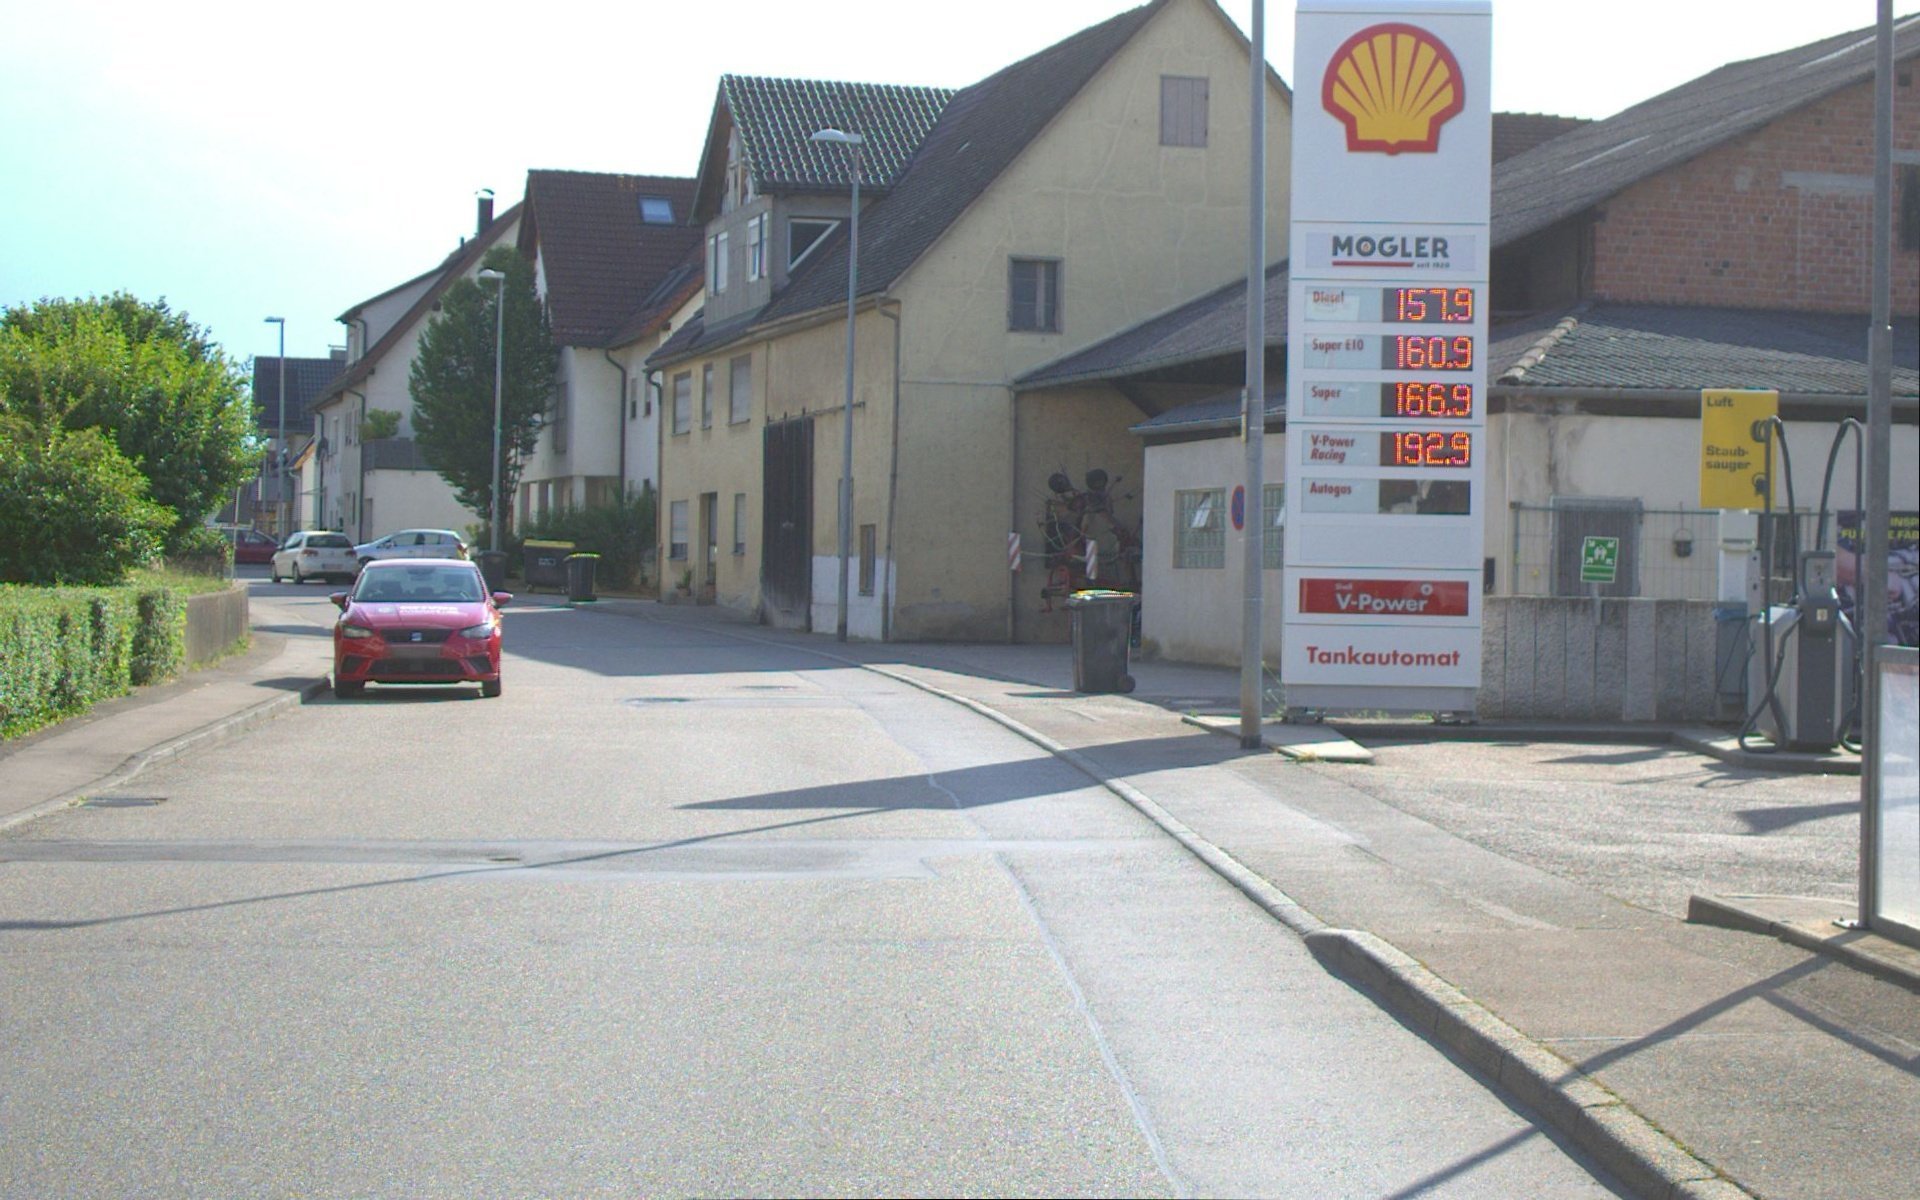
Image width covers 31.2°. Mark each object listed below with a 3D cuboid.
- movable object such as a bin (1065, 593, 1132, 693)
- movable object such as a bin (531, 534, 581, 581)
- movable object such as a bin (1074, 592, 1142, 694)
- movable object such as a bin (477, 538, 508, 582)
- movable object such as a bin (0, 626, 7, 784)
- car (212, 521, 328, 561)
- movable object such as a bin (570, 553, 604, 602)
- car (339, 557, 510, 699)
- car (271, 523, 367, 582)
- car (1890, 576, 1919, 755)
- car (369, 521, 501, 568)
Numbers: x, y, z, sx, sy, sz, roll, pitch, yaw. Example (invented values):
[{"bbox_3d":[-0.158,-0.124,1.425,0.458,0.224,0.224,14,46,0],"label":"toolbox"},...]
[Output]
[{"bbox_3d":[1.506,0.467,37.452,0.653,1.070,0.513,1,1,-3],"label":"movable object such as a bin"},{"bbox_3d":[-10.099,-1.062,85.902,1.160,1.164,0.655,1,1,-12],"label":"movable object such as a bin"},{"bbox_3d":[1.589,0.454,36.916,0.653,1.070,0.513,1,1,-3],"label":"movable object such as a bin"},{"bbox_3d":[-11.427,-0.979,84.005,0.652,1.070,0.513,1,1,-16],"label":"movable object such as a bin"},{"bbox_3d":[-6.457,0.681,22.096,0.531,1.019,0.457,-1,1,-1],"label":"movable object such as a bin"},{"bbox_3d":[-25.038,-2.132,124.801,3.986,1.348,1.711,1,1,-16],"label":"car"},{"bbox_3d":[-8.223,-0.498,75.829,0.652,1.070,0.513,1,1,-16],"label":"movable object such as a bin"},{"bbox_3d":[-5.739,0.272,36.950,1.708,1.430,3.781,0,0,-9],"label":"car"},{"bbox_3d":[-17.963,-1.341,96.269,1.704,1.573,4.001,1,1,-25],"label":"car"},{"bbox_3d":[8.529,0.577,26.047,1.578,1.422,4.381,2,1,-2],"label":"car"},{"bbox_3d":[-16.227,-1.708,106.207,3.986,1.348,1.711,1,1,-9],"label":"car"}]
